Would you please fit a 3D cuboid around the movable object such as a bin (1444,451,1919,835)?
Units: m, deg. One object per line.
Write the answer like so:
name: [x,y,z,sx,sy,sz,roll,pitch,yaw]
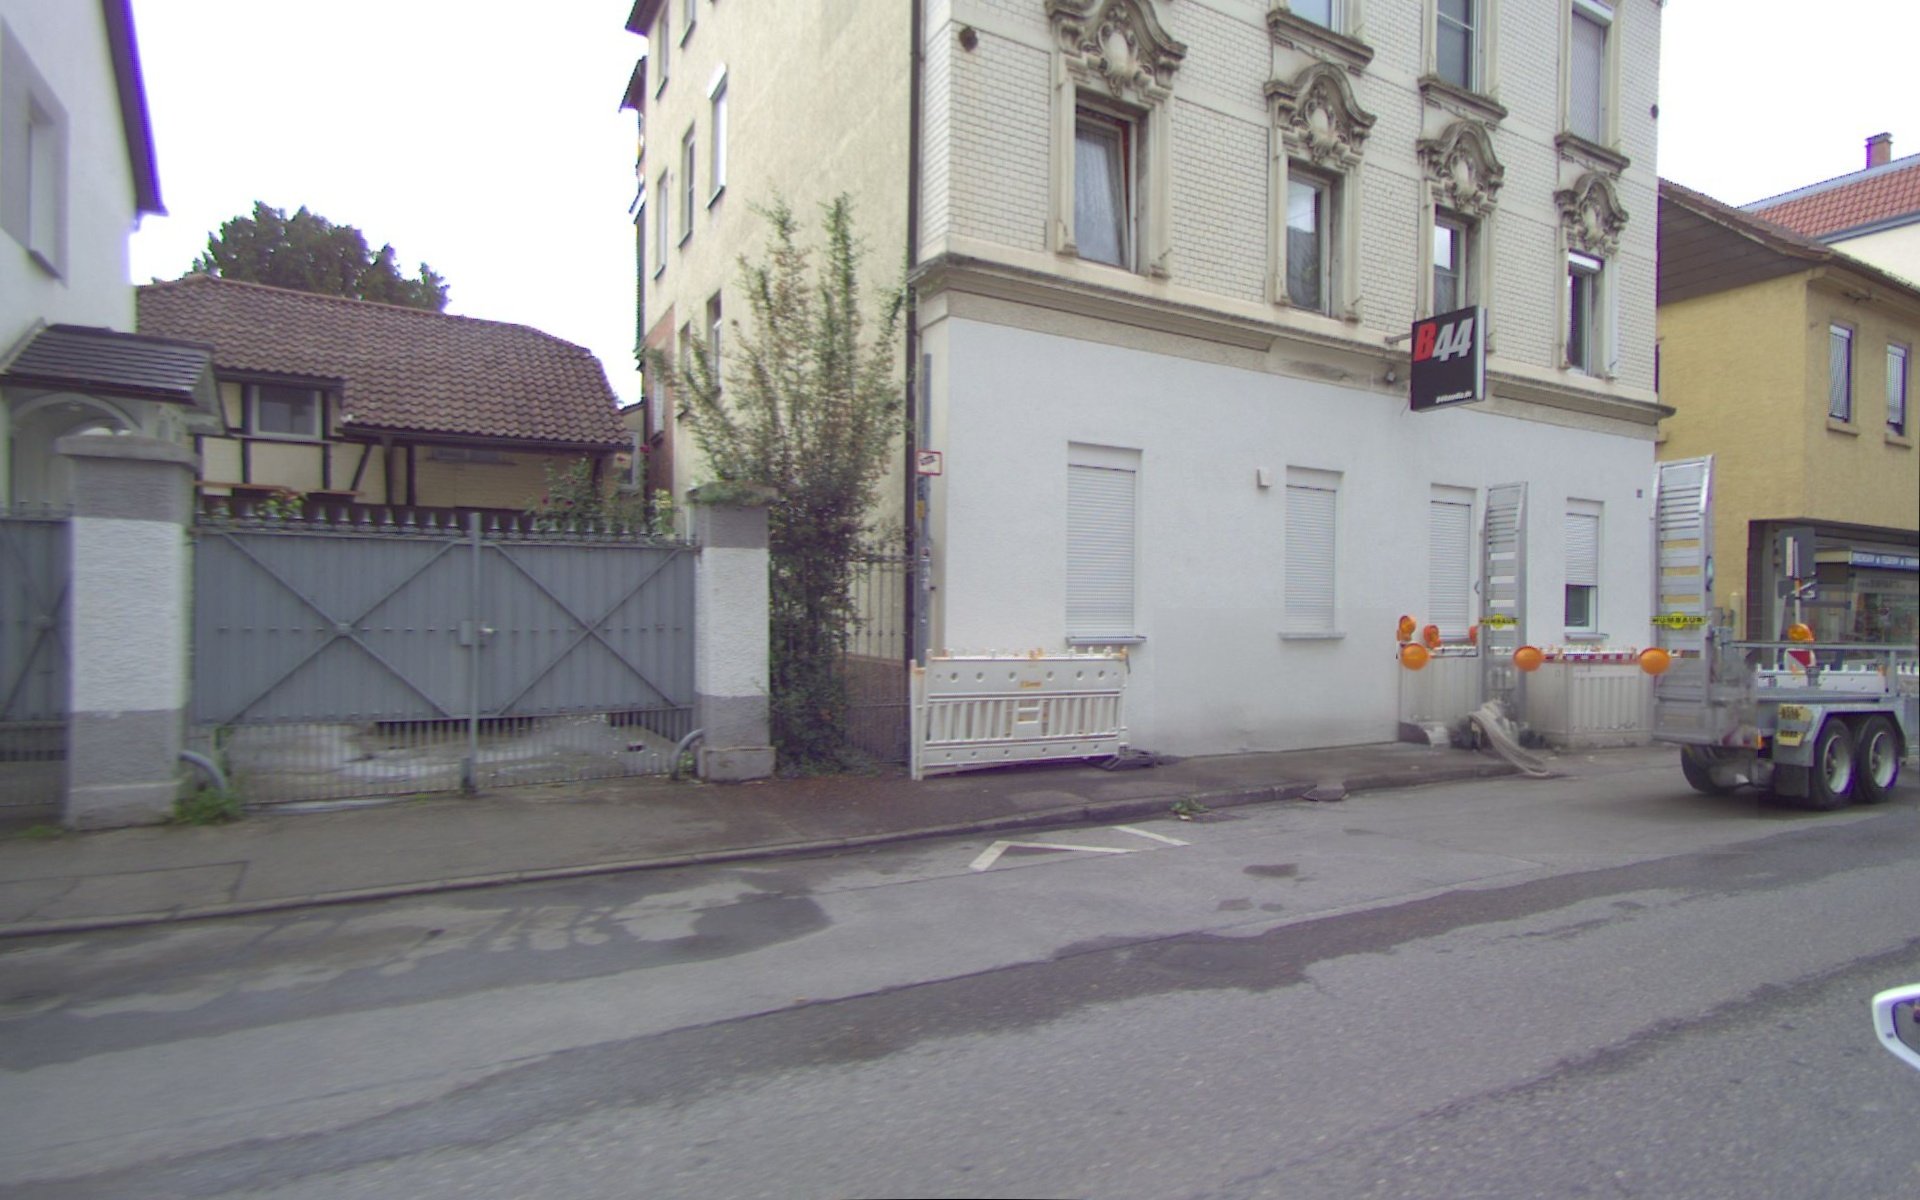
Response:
movable object such as a bin: [7.239,0.395,9.726,4.485,2.862,2.526,1,-2,-30]
